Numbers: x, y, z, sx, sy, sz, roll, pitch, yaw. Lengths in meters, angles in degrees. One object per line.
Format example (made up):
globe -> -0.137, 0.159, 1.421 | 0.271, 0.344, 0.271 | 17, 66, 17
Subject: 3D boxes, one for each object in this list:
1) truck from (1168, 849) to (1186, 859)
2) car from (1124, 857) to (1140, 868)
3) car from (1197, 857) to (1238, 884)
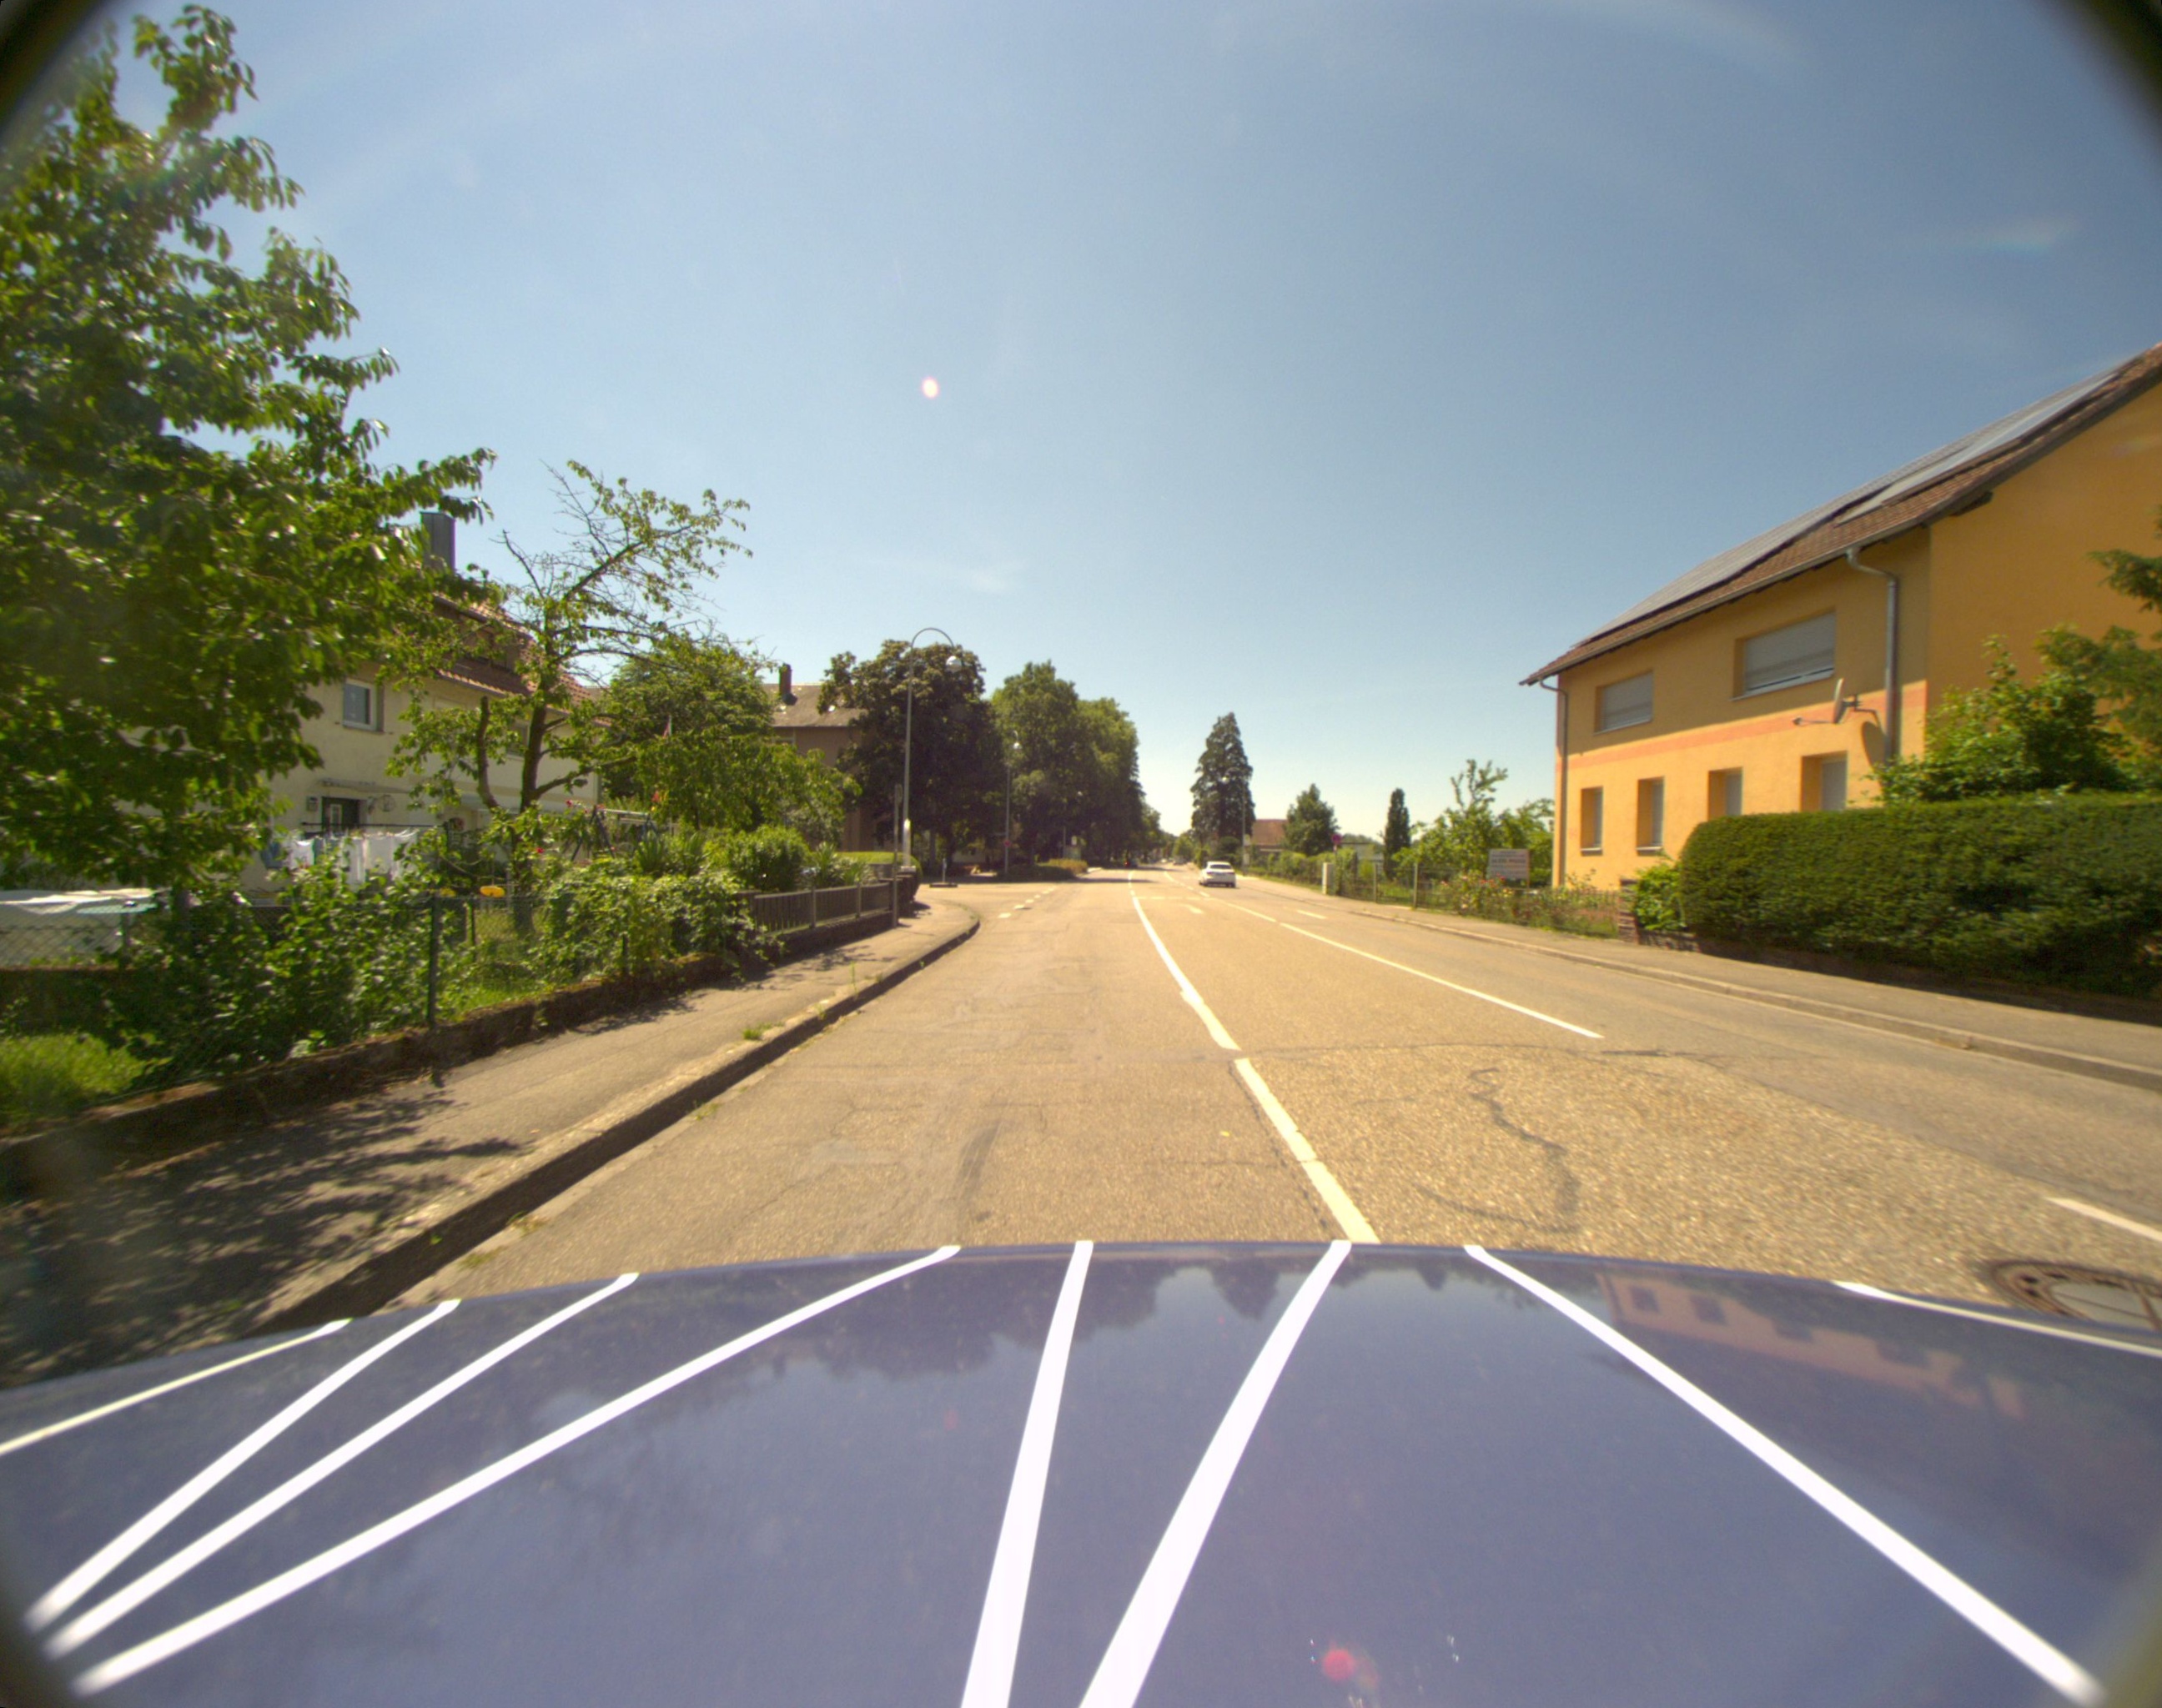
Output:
truck -> 23.088, -0.090, 182.507 | 2.625, 2.228, 6.251 | 1, 0, -10
car -> 7.595, 1.228, 112.223 | 1.882, 1.623, 4.324 | 2, 0, 9
car -> 7.704, 0.916, 43.168 | 1.684, 1.364, 4.207 | 3, 0, 2
